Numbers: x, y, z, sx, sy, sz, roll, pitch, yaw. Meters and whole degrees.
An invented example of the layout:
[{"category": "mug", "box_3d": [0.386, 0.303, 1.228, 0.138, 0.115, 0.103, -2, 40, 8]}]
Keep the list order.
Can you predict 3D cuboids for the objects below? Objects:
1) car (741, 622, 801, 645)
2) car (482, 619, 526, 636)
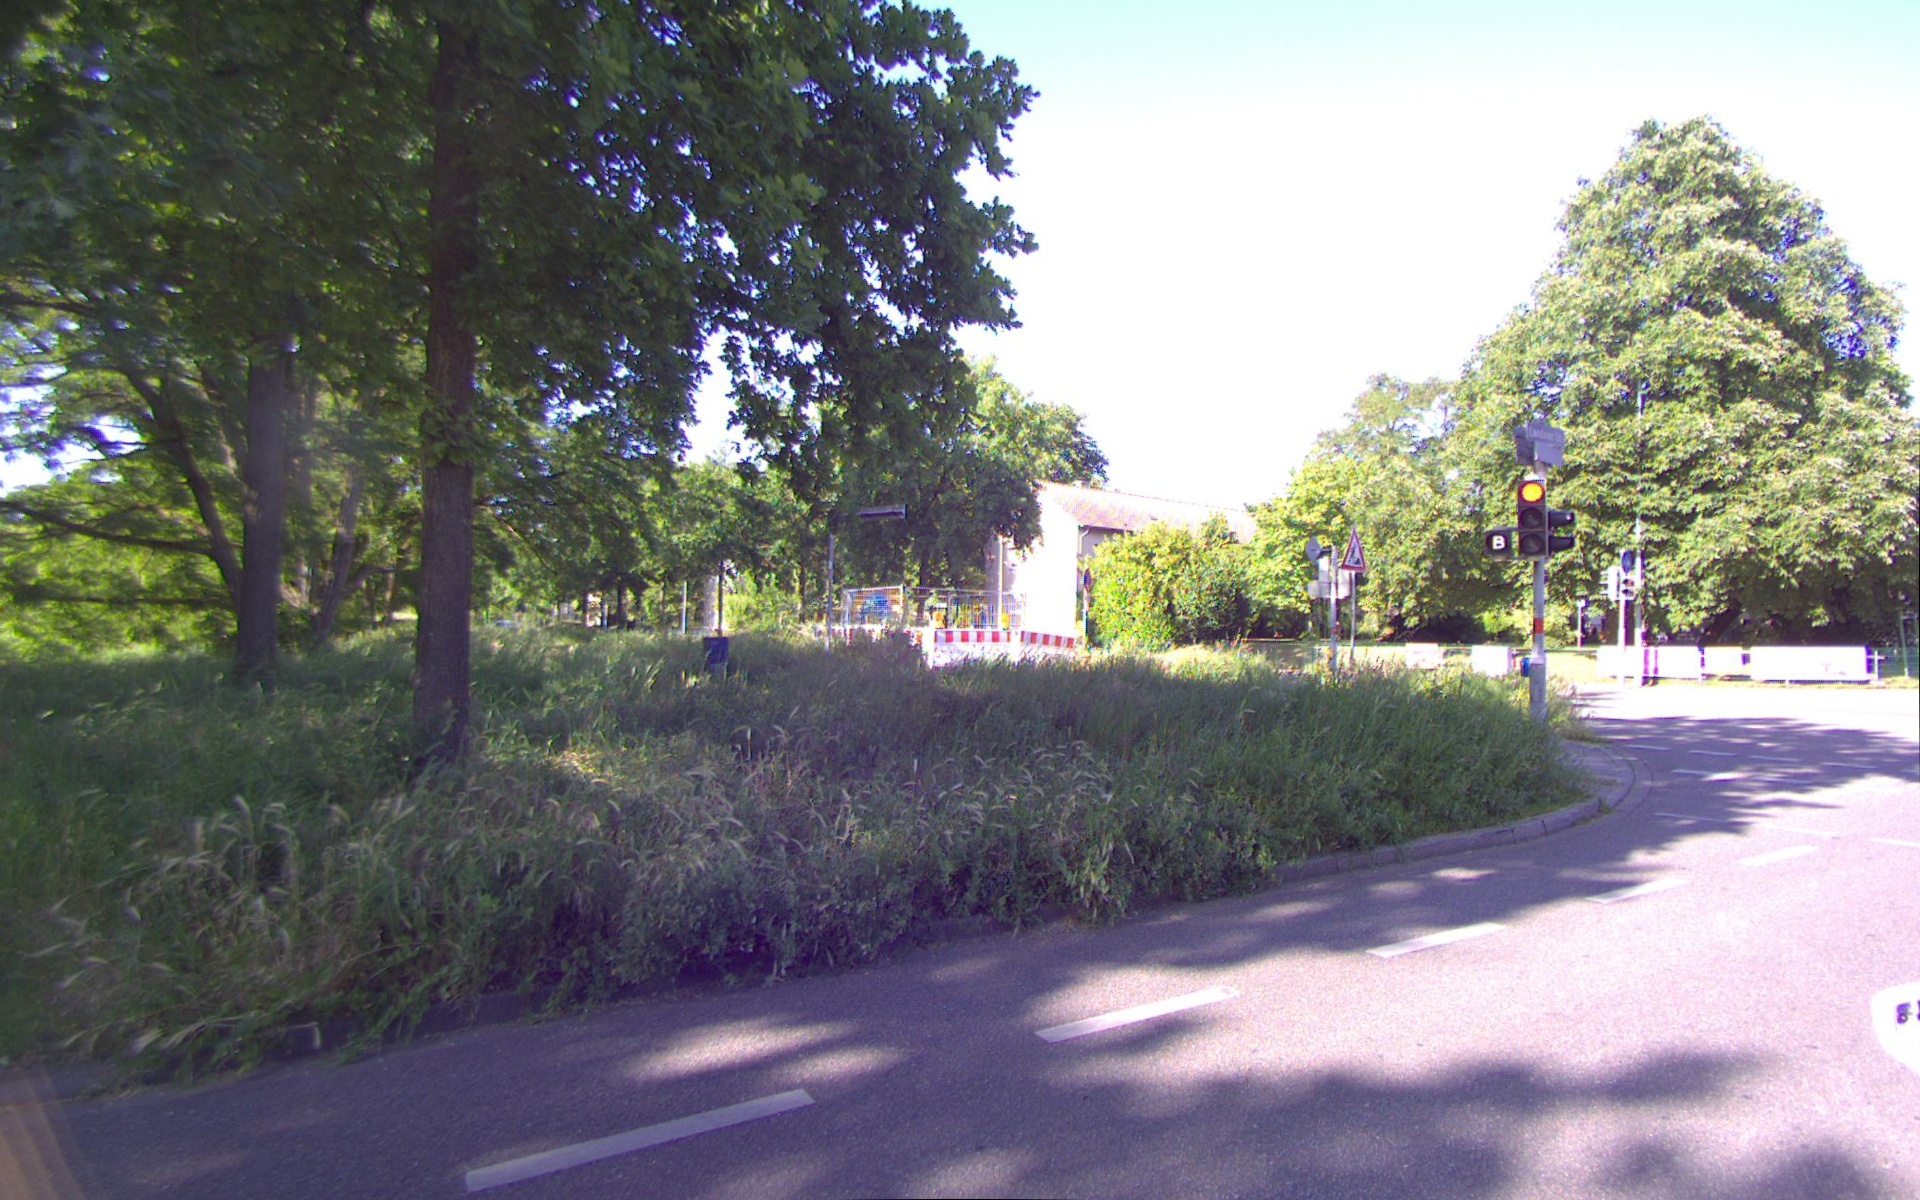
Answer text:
[{"category": "car", "box_3d": [-12.668, 2.263, 67.140, 1.983, 1.449, 4.690, 2, -3, -39]}, {"category": "car", "box_3d": [-47.384, 2.860, 104.489, 3.939, 1.673, 1.991, 2, 0, -20]}]
